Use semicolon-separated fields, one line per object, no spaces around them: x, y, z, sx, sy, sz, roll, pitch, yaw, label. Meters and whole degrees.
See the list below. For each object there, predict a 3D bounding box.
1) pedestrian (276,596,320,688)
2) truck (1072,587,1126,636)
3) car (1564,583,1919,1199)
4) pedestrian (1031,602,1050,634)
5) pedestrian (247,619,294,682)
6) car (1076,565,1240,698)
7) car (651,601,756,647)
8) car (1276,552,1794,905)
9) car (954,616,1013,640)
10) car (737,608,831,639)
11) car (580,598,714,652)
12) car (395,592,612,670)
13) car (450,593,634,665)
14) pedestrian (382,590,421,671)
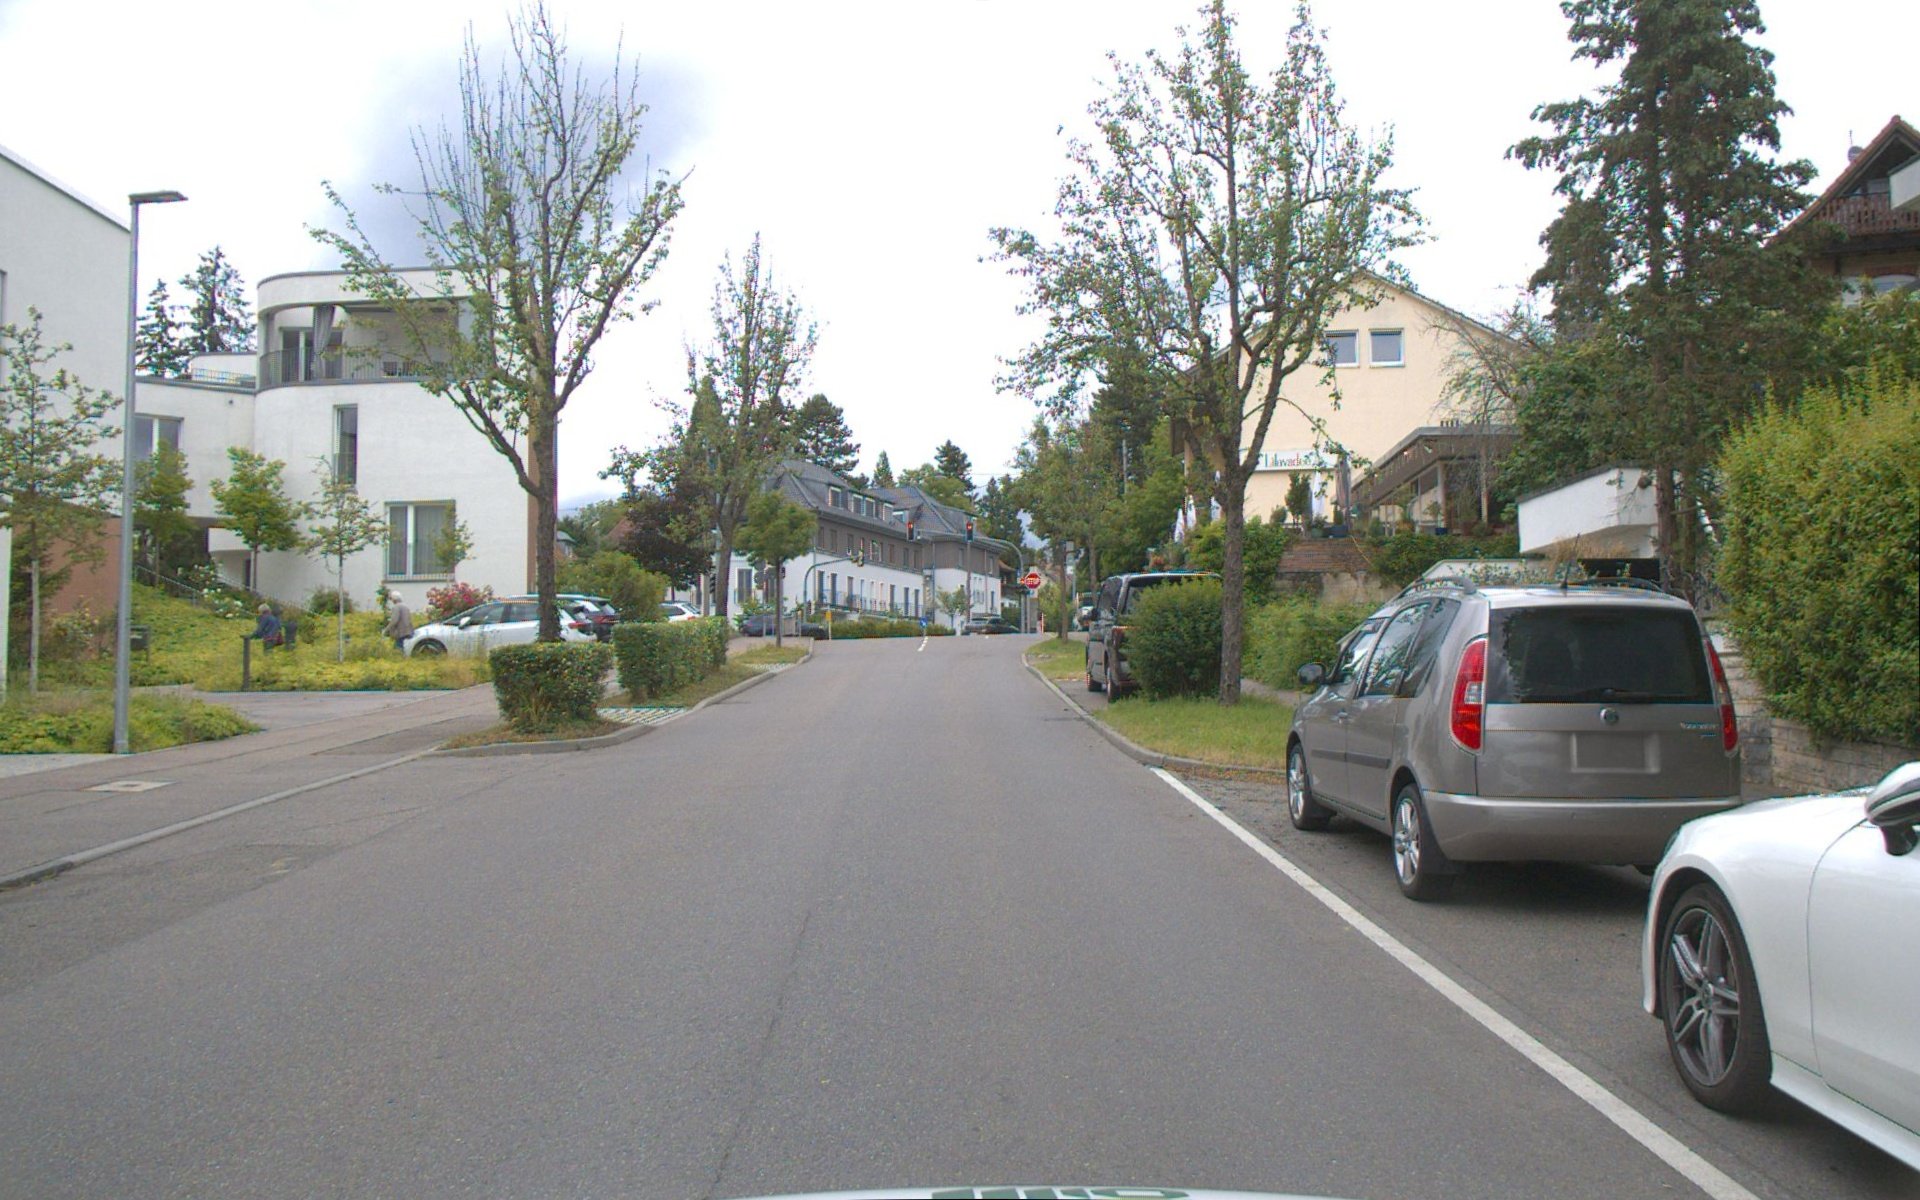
-12.443;0.786;31.093;0.576;1.711;0.519;-1;0;0;pedestrian
7.070;0.634;84.958;2.139;2.234;5.879;-1;-3;-1;truck
3.227;0.718;3.616;1.953;1.517;5.004;-2;0;0;car
4.321;0.947;88.751;0.694;1.711;0.676;-1;-1;-40;pedestrian
-14.491;1.053;34.772;0.594;1.305;0.899;0;0;-1;pedestrian
3.011;0.448;26.225;1.897;1.870;5.218;-1;0;-1;car
-9.404;0.873;60.809;3.688;1.489;1.729;-2;1;-7;car
3.124;0.620;9.862;1.682;1.661;3.928;1;0;-1;car
1.431;1.637;97.402;1.954;1.310;3.996;1;0;26;car
-9.277;1.240;87.307;4.624;1.517;2.150;0;1;-18;car
-10.562;0.842;56.107;4.176;1.651;2.012;-2;-1;-4;car
-10.217;0.678;37.271;4.298;1.594;2.065;-2;0;-2;car
-10.013;0.679;39.842;3.905;1.682;2.008;0;0;0;car
-11.770;0.638;34.871;0.581;1.669;0.565;-2;0;0;pedestrian
